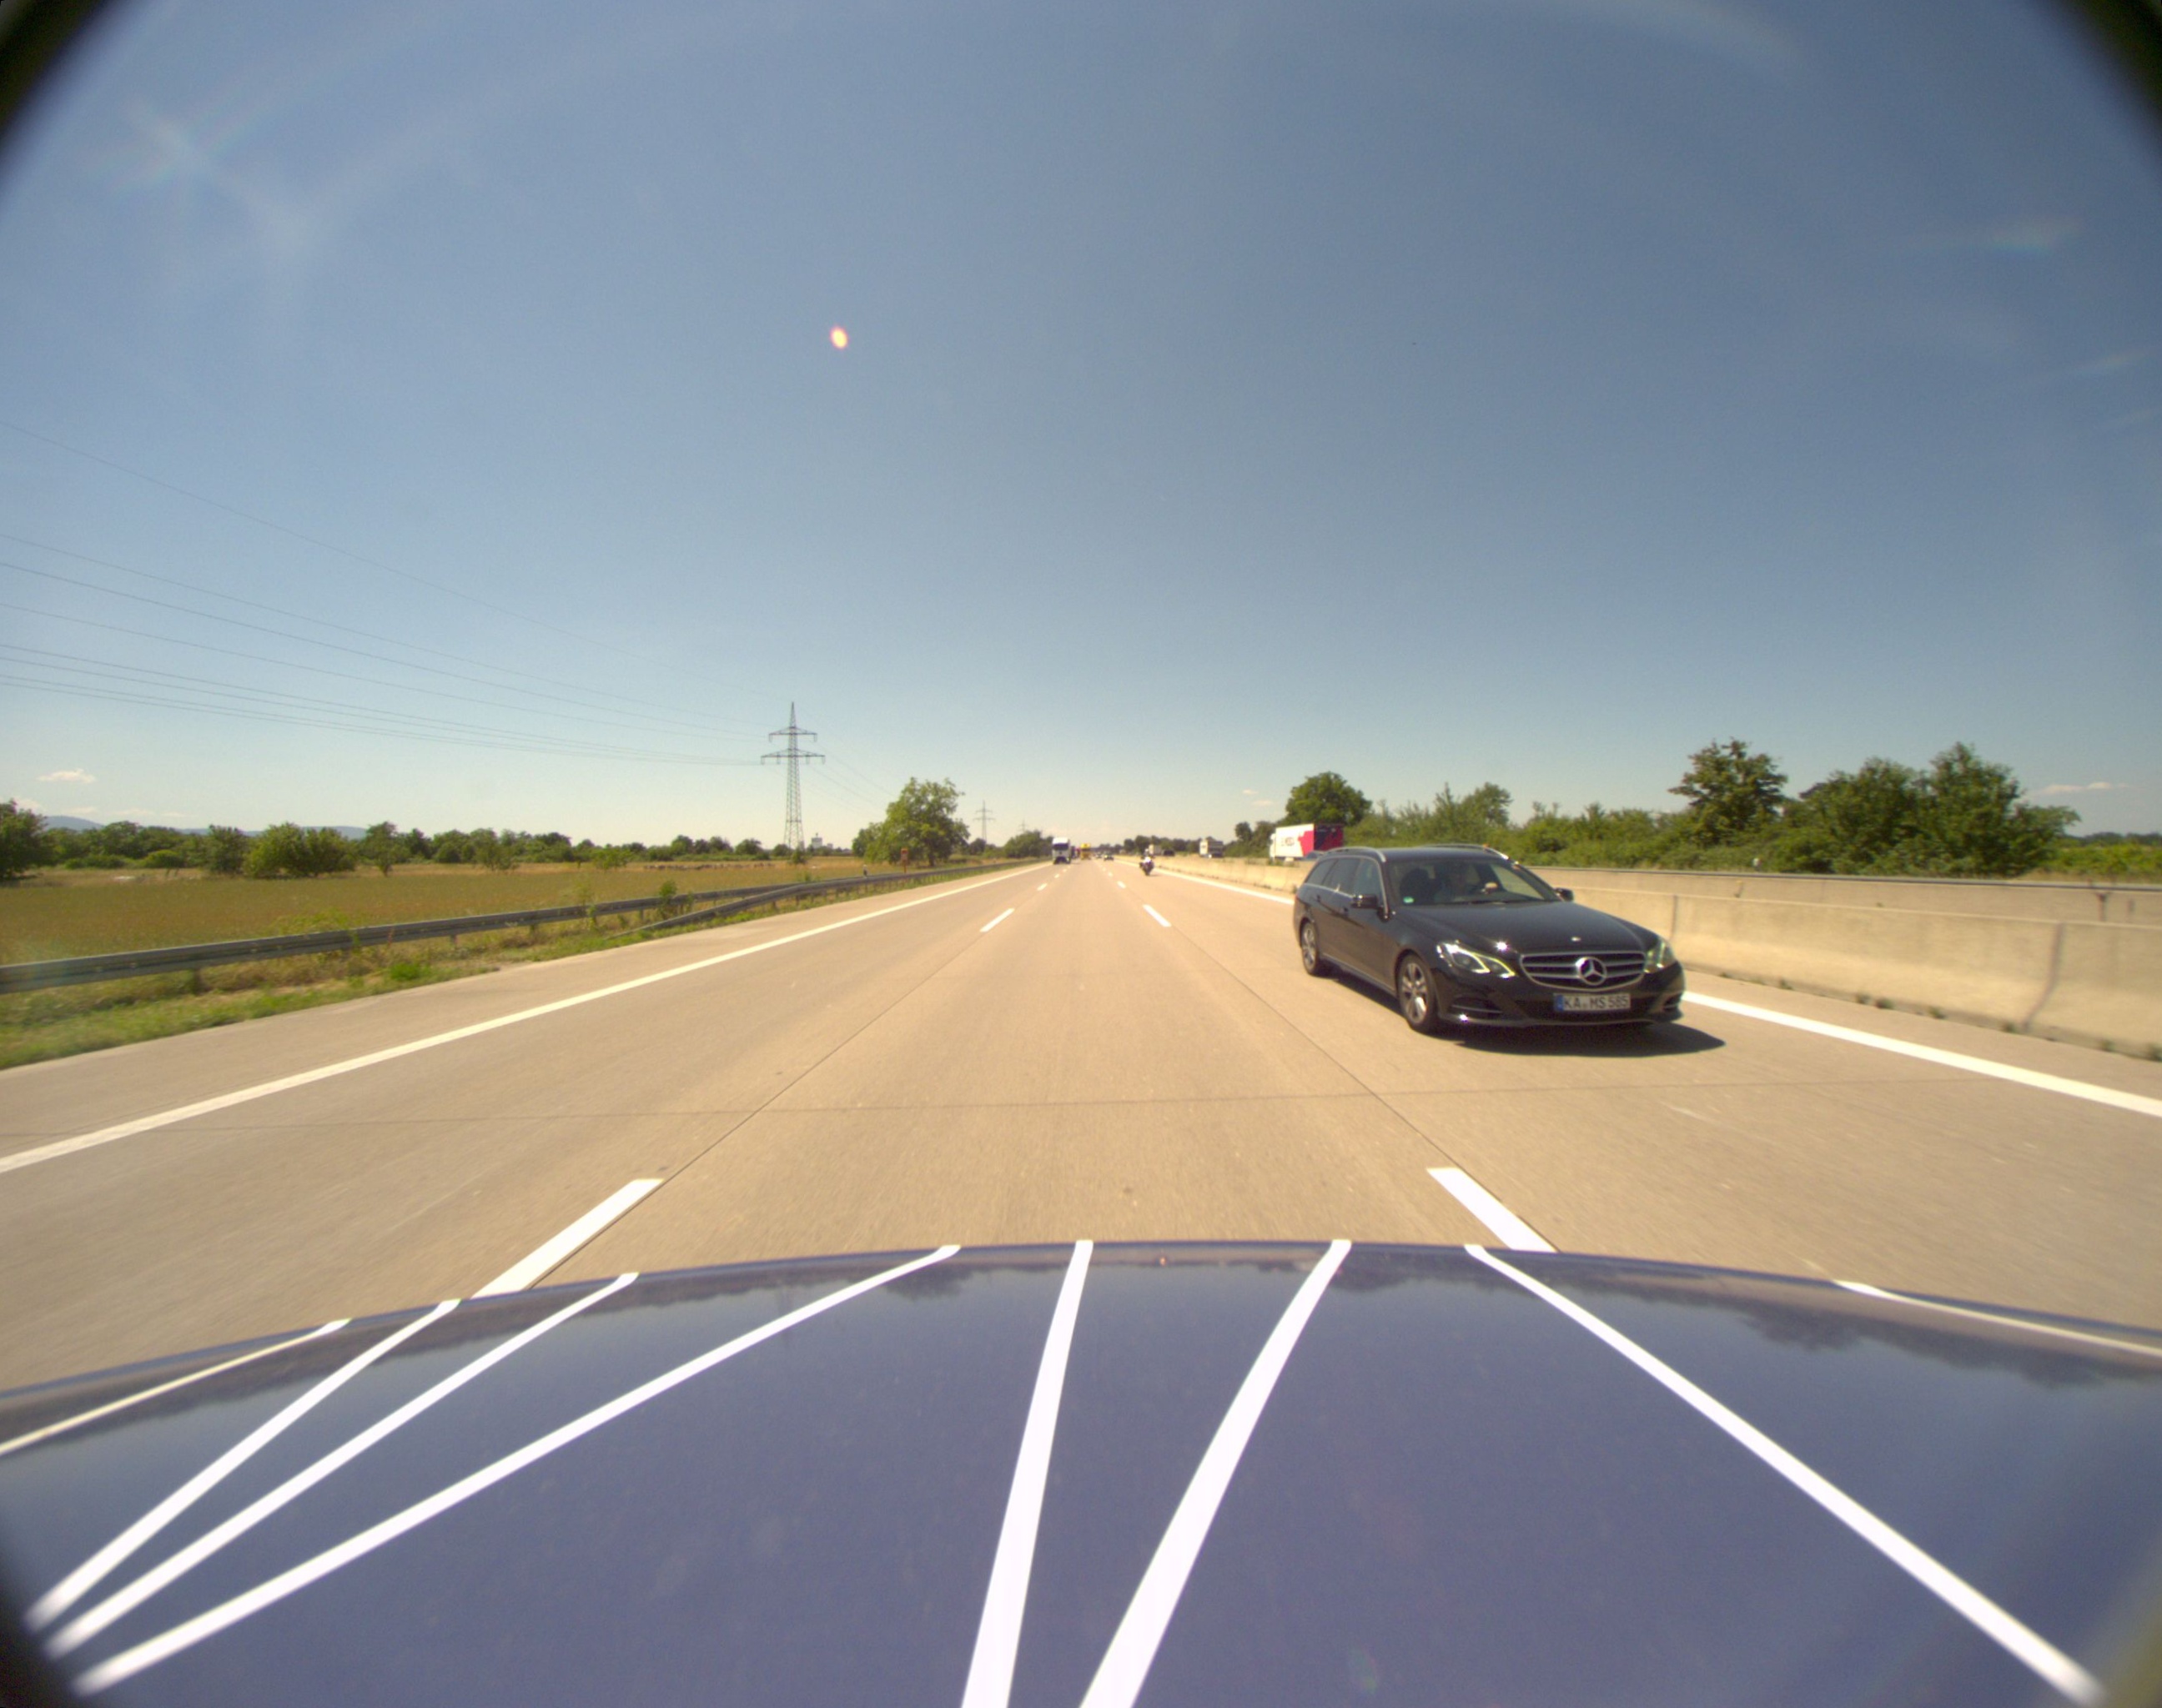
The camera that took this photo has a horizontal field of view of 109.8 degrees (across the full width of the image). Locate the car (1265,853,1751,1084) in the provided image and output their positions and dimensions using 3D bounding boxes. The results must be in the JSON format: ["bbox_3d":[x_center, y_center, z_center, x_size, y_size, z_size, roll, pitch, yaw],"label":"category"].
[{"bbox_3d":[3.497,0.758,7.814,1.895,1.465,5.603,-1,0,1],"label":"car"}]

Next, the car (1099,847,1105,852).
[{"bbox_3d":[5.888,-1.228,216.978,1.586,1.527,3.611,-1,0,1],"label":"car"}]

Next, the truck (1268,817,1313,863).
[{"bbox_3d":[21.366,-1.392,77.798,2.809,4.511,6.661,-1,1,1],"label":"truck"}]

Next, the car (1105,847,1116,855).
[{"bbox_3d":[5.585,-0.507,145.681,1.998,1.518,4.000,-1,0,1],"label":"car"}]

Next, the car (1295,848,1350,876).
[{"bbox_3d":[12.762,0.390,40.351,1.720,1.392,3.807,-1,0,1],"label":"car"}]

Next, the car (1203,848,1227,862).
[{"bbox_3d":[13.529,0.062,76.822,1.745,1.392,3.807,-1,0,1],"label":"car"}]

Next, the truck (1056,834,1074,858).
[{"bbox_3d":[-2.450,-1.205,119.711,2.570,3.514,10.099,-1,0,1],"label":"truck"}]

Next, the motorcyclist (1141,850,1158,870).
[{"bbox_3d":[4.356,0.379,48.303,1.027,1.202,0.911,-1,1,2],"label":"motorcyclist"}]

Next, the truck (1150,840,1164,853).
[{"bbox_3d":[23.068,-2.264,231.180,3.569,3.976,7.519,-2,1,1],"label":"truck"}]

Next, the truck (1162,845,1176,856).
[{"bbox_3d":[14.030,-0.580,121.304,1.867,1.750,3.950,-1,0,1],"label":"truck"}]

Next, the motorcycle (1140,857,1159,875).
[{"bbox_3d":[4.351,0.770,48.323,1.024,1.042,2.413,-2,0,2],"label":"motorcycle"}]

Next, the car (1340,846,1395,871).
[{"bbox_3d":[17.201,0.238,45.794,1.628,1.392,4.546,-1,0,1],"label":"car"}]

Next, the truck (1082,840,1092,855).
[{"bbox_3d":[1.565,-1.585,192.520,2.570,3.711,10.099,-1,0,1],"label":"truck"}]

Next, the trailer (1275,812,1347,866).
[{"bbox_3d":[21.268,-1.309,71.301,2.809,4.511,13.233,-1,0,1],"label":"trailer"}]

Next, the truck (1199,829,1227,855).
[{"bbox_3d":[21.973,-2.003,126.808,3.240,4.150,8.127,-1,0,1],"label":"truck"}]
